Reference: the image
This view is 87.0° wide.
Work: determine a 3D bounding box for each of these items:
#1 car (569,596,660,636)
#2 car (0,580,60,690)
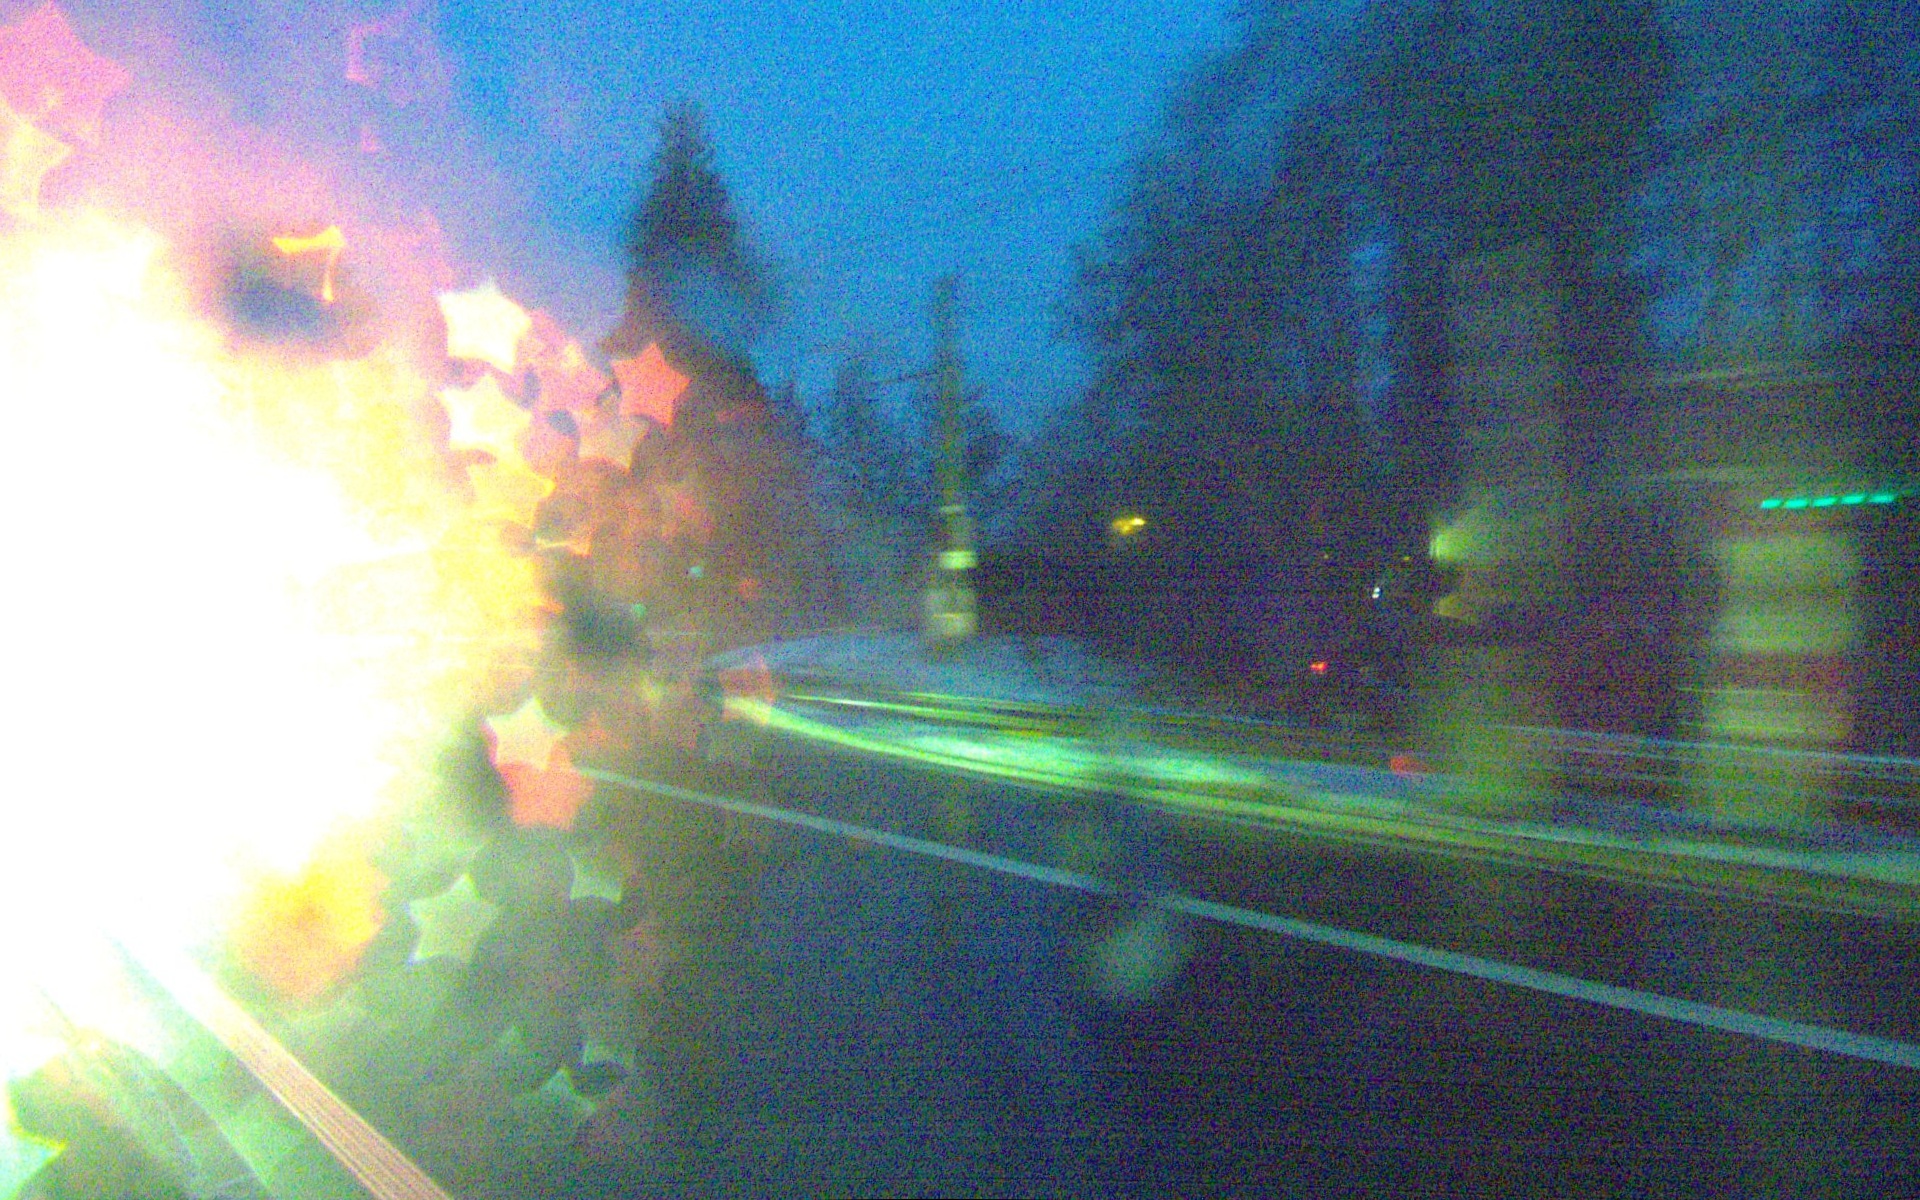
[{"bbox_3d":[-15.337,0.683,44.825,4.482,1.598,1.912,1,0,43],"label":"car"},{"bbox_3d":[-15.825,0.572,15.528,1.862,1.701,4.353,-1,-1,-26],"label":"car"}]
